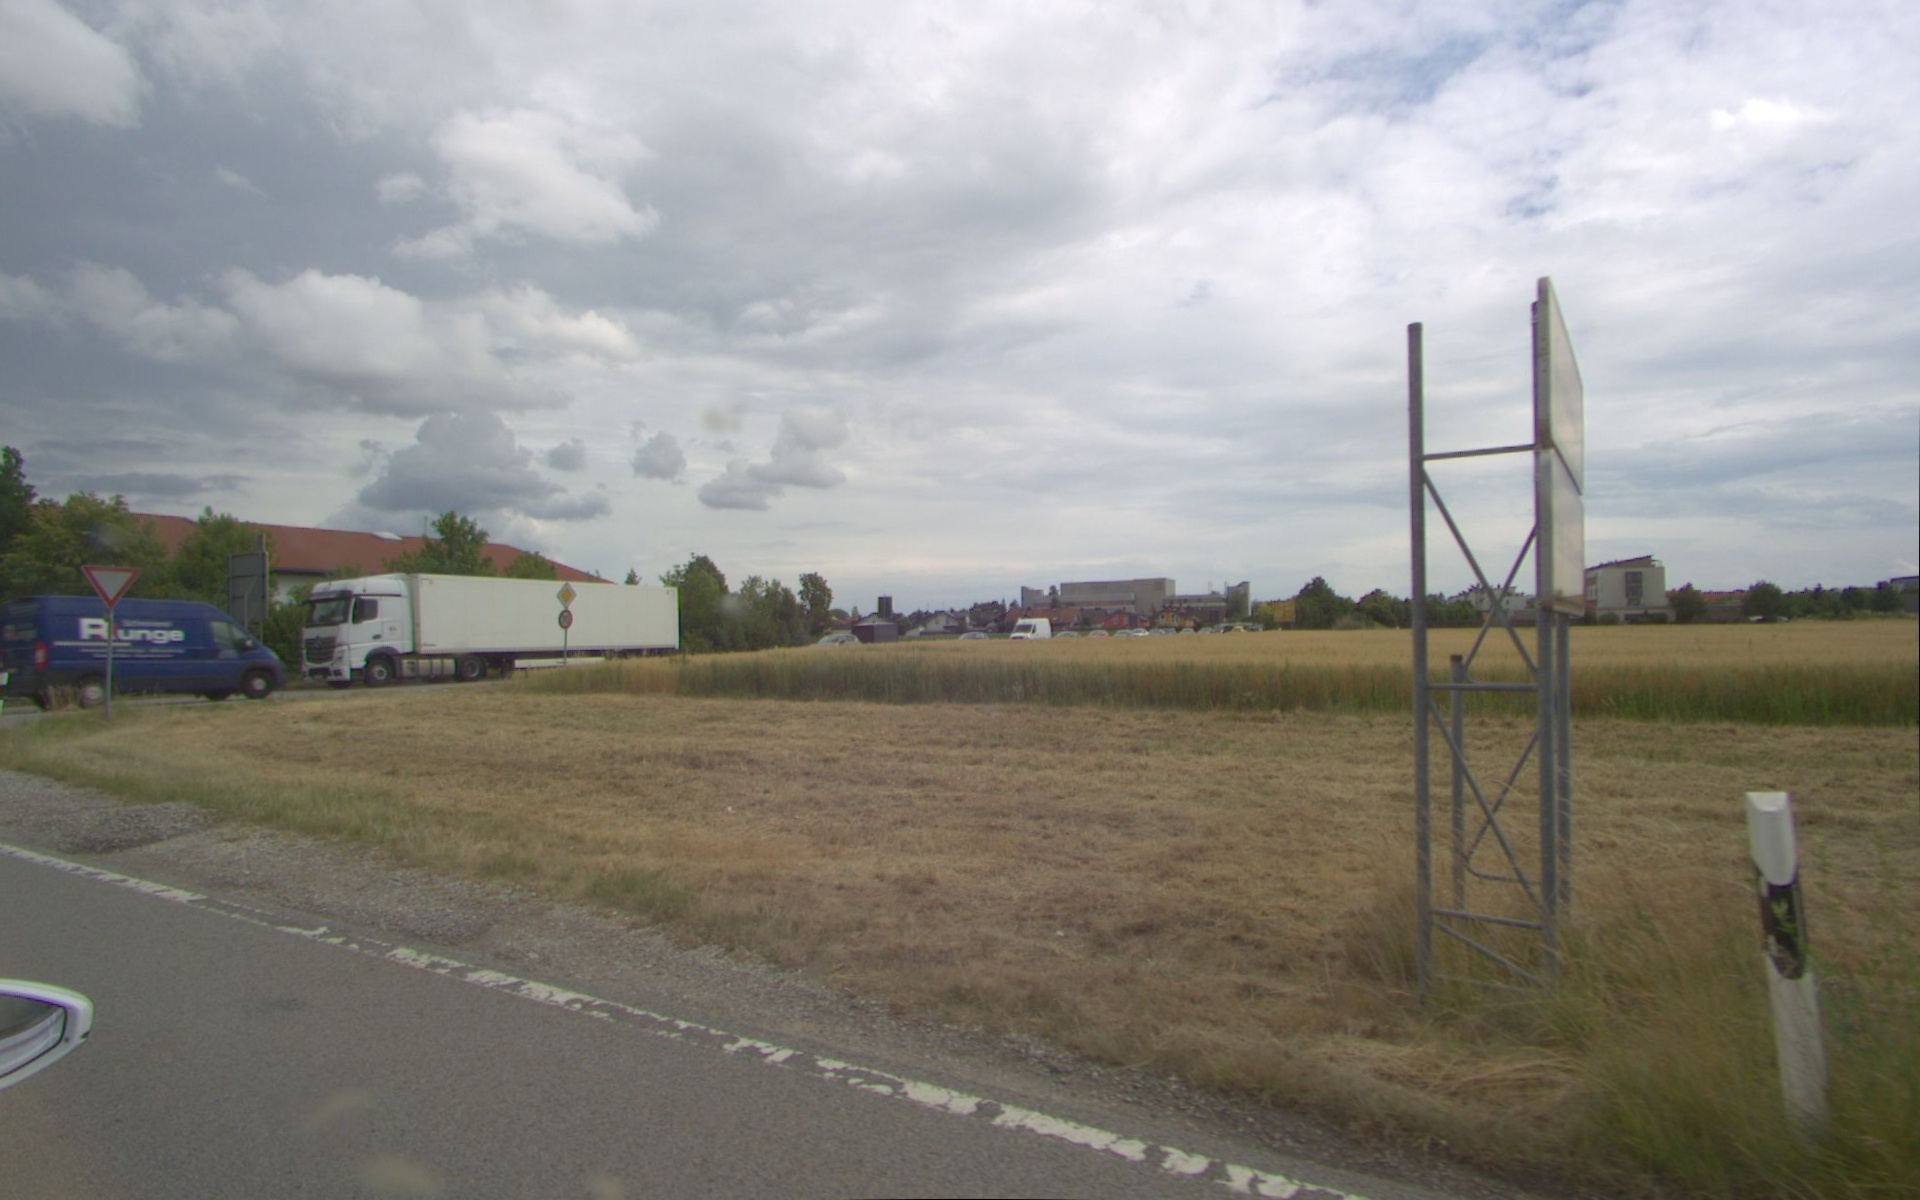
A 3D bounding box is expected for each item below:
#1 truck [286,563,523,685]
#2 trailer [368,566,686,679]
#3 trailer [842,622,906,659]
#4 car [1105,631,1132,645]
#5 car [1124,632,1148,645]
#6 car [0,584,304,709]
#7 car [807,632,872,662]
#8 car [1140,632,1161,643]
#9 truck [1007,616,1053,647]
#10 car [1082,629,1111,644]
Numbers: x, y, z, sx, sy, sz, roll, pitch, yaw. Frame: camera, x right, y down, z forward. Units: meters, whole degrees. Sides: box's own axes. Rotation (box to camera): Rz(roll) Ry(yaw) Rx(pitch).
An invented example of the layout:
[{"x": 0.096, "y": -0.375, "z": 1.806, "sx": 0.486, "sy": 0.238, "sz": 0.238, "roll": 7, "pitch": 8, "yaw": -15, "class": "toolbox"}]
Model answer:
[{"x": -20.556, "y": 0.935, "z": 37.570, "sx": 3.080, "sy": 4.064, "sz": 7.282, "roll": -3, "pitch": -2, "yaw": 26, "class": "truck"}, {"x": -17.811, "y": 1.022, "z": 43.164, "sx": 3.080, "sy": 4.064, "sz": 13.840, "roll": -3, "pitch": -3, "yaw": 26, "class": "trailer"}, {"x": -5.700, "y": 2.695, "z": 66.682, "sx": 2.378, "sy": 2.321, "sz": 4.383, "roll": -3, "pitch": -2, "yaw": 24, "class": "trailer"}, {"x": 17.732, "y": 4.244, "z": 111.796, "sx": 1.827, "sy": 1.485, "sz": 3.986, "roll": -1, "pitch": -1, "yaw": 27, "class": "car"}, {"x": 20.840, "y": 4.528, "z": 118.315, "sx": 1.826, "sy": 1.485, "sz": 3.987, "roll": -1, "pitch": -1, "yaw": 26, "class": "car"}, {"x": -19.435, "y": 1.032, "z": 24.332, "sx": 2.116, "sy": 2.674, "sz": 5.549, "roll": 0, "pitch": -1, "yaw": 27, "class": "car"}, {"x": -7.492, "y": 2.943, "z": 62.650, "sx": 1.967, "sy": 1.703, "sz": 4.466, "roll": -3, "pitch": -2, "yaw": 24, "class": "car"}, {"x": 23.781, "y": 4.682, "z": 124.897, "sx": 1.826, "sy": 1.286, "sz": 3.518, "roll": -1, "pitch": -1, "yaw": 26, "class": "car"}, {"x": 6.262, "y": 2.833, "z": 89.418, "sx": 1.968, "sy": 2.607, "sz": 5.997, "roll": -3, "pitch": -2, "yaw": 26, "class": "truck"}, {"x": 14.446, "y": 3.804, "z": 105.729, "sx": 1.827, "sy": 1.485, "sz": 3.986, "roll": -1, "pitch": -1, "yaw": 27, "class": "car"}]
